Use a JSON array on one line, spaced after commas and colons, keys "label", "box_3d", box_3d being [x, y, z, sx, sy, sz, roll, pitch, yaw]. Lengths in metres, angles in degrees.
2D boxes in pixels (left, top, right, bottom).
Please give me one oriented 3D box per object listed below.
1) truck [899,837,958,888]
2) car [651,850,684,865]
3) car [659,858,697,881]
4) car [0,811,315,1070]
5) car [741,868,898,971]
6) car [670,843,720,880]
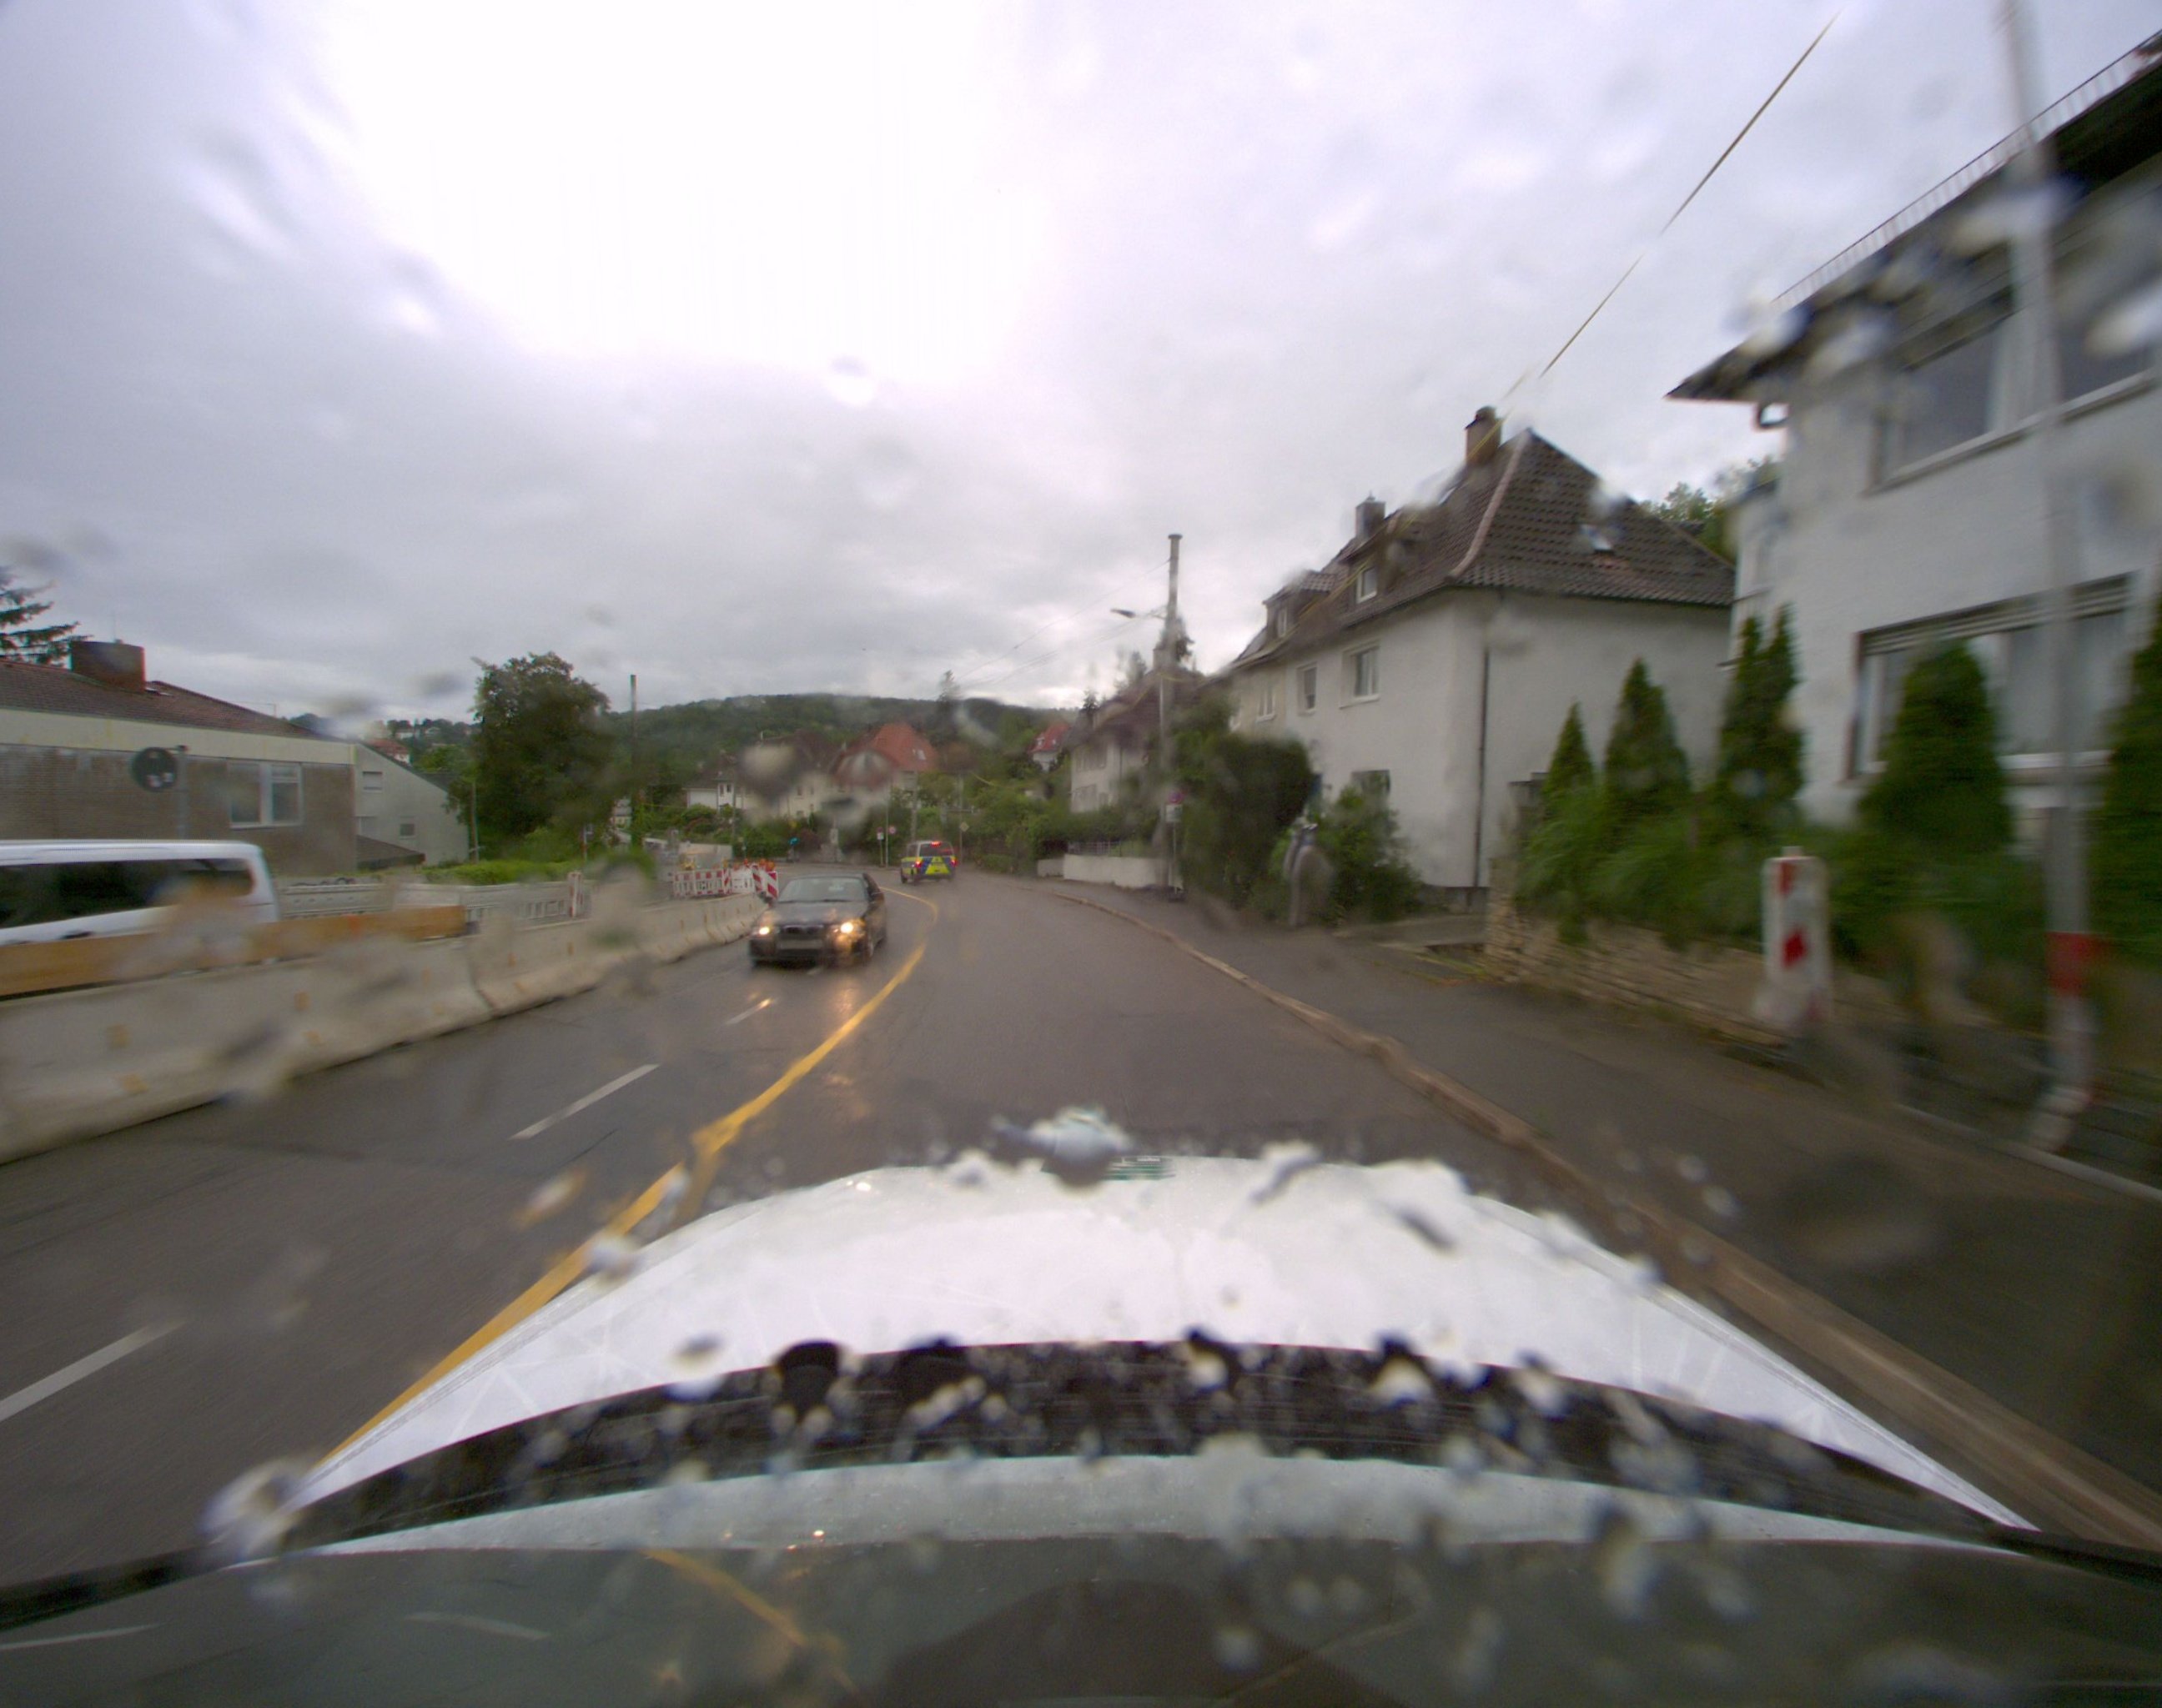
[{"label": "truck", "box_3d": [-7.186, 0.311, 38.021, 2.000, 2.013, 4.705, -2, 4, -19]}, {"label": "car", "box_3d": [-44.581, 0.393, 87.772, 3.950, 1.574, 2.012, -1, 0, 44]}, {"label": "car", "box_3d": [-26.882, 1.000, 54.270, 1.859, 1.464, 3.728, -1, 0, -33]}, {"label": "car", "box_3d": [-10.007, 0.747, 7.109, 1.987, 2.012, 4.808, 1, 5, -1]}, {"label": "car", "box_3d": [-4.077, 0.935, 13.340, 1.647, 1.311, 4.252, -3, -1, -8]}, {"label": "car", "box_3d": [-22.580, 0.433, 47.521, 2.007, 2.013, 5.089, -1, 0, -33]}]
